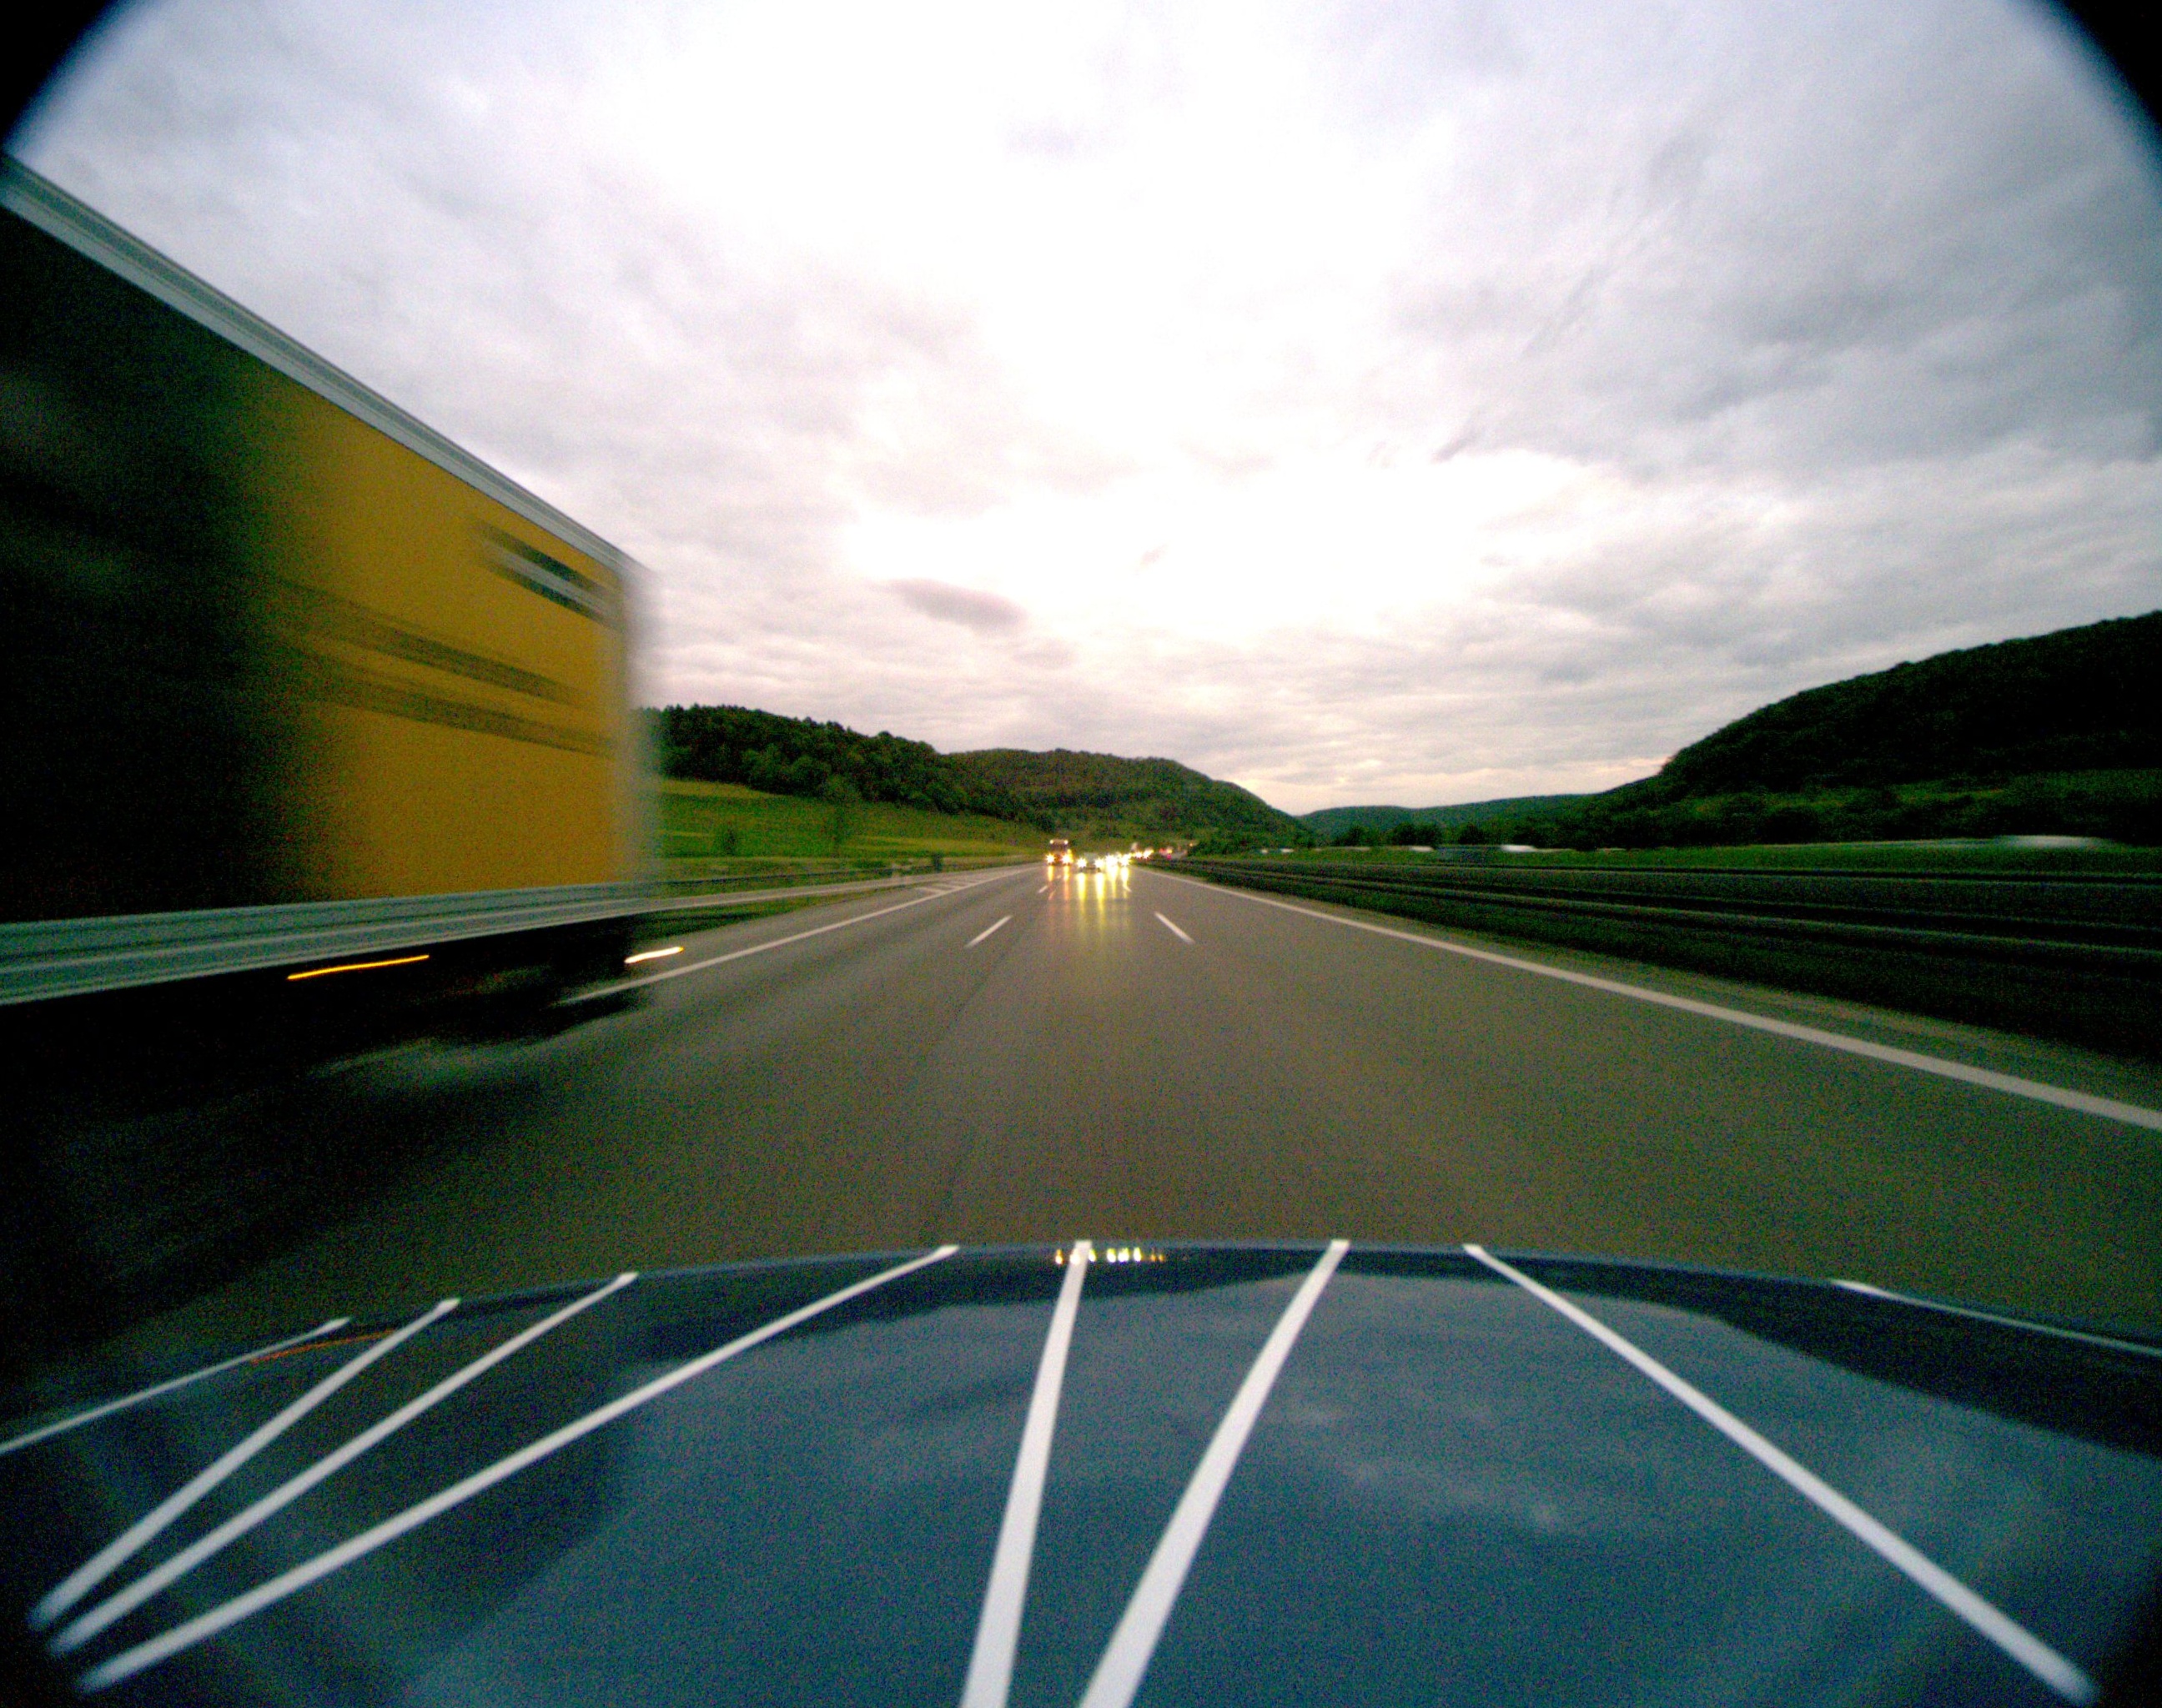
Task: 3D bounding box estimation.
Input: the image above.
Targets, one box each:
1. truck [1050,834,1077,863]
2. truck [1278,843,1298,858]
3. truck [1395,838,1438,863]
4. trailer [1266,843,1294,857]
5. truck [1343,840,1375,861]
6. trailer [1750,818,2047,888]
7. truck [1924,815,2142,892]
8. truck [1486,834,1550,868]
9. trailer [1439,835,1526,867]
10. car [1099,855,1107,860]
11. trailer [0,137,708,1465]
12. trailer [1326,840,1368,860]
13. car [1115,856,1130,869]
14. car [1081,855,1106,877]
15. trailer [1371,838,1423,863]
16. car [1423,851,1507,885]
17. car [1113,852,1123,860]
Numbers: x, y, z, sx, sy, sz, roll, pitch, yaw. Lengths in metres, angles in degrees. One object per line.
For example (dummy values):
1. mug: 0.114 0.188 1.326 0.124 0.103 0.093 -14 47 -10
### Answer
1. truck: -2.407 -0.762 106.956 3.119 3.850 14.163 1 0 1
2. truck: 43.622 -0.824 160.253 2.874 3.070 5.841 -1 0 1
3. truck: 42.378 -0.430 96.224 2.874 3.070 5.893 -1 0 1
4. trailer: 43.727 -0.866 167.173 2.874 3.070 13.634 -1 0 1
5. truck: 42.766 -0.558 117.126 2.874 3.070 5.893 -1 0 1
6. trailer: 41.038 -0.048 39.226 2.880 3.035 11.726 -1 0 1
7. truck: 41.005 -0.040 33.034 2.874 3.070 5.304 -1 0 1
8. truck: 42.093 -0.292 73.415 2.874 3.070 5.893 -1 0 1
9. trailer: 42.246 -0.336 80.643 2.874 3.070 12.485 -1 0 1
10. car: 5.896 0.934 203.590 1.932 1.492 4.134 0 0 2
11. trailer: -4.407 -0.146 1.747 2.623 3.805 8.877 -1 1 0
12. trailer: 42.871 -0.594 122.848 2.874 3.070 11.814 -1 0 1
13. car: 5.451 1.084 100.477 1.794 1.492 5.037 -2 0 1
14. car: 1.038 0.934 62.291 1.927 1.674 4.806 -1 1 1
15. trailer: 42.501 -0.469 102.526 2.874 3.070 10.156 -1 0 1
16. car: 20.912 0.725 41.632 1.998 1.691 5.116 2 0 0
17. car: 7.700 0.447 160.248 1.894 1.650 5.639 -2 1 1
